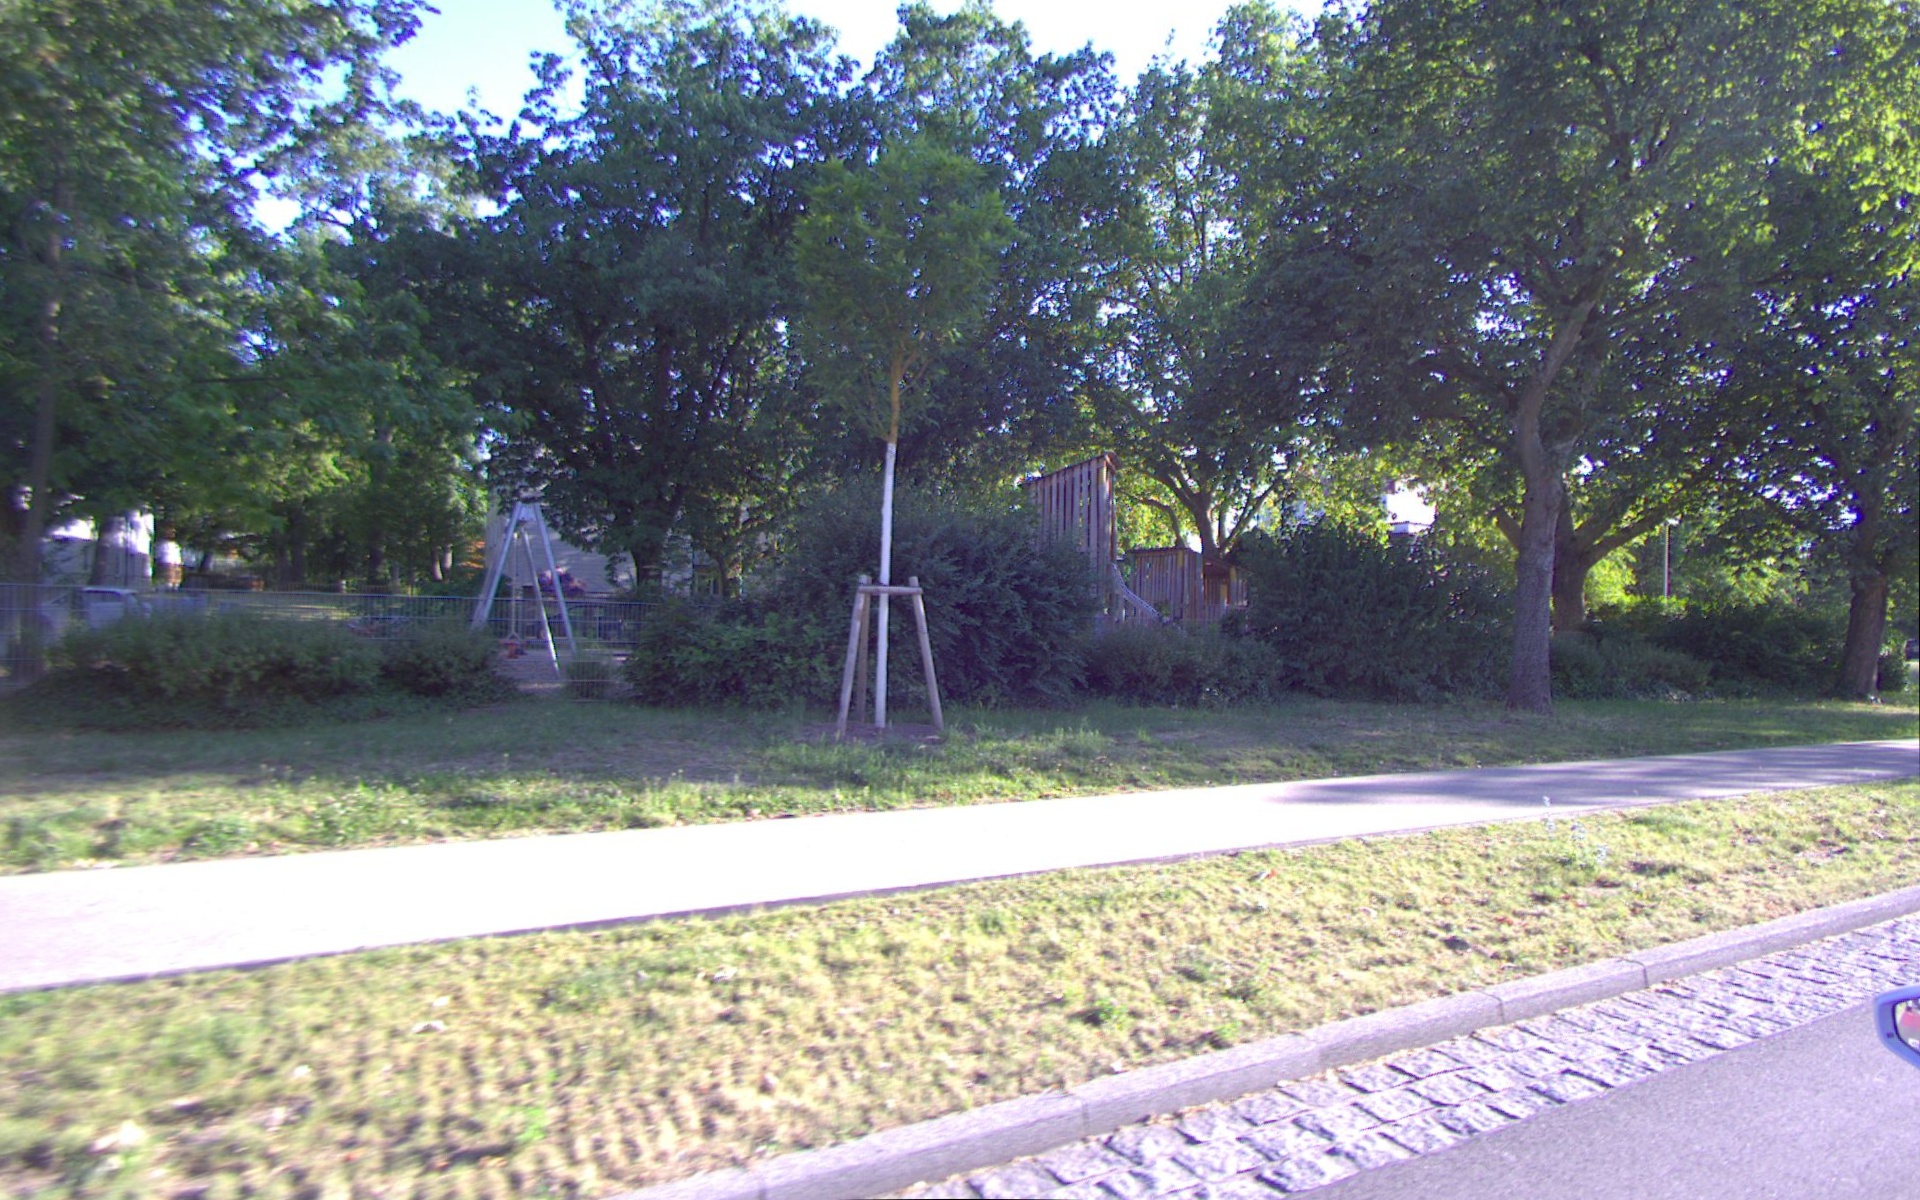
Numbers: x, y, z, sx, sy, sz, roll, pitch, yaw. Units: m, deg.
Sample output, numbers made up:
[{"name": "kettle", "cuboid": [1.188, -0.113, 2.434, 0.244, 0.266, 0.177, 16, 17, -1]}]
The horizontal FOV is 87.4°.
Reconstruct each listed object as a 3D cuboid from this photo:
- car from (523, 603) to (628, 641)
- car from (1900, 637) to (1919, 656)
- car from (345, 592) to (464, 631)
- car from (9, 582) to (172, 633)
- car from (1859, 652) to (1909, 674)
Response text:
[{"name": "car", "cuboid": [-15.101, 0.856, 39.486, 3.703, 1.386, 1.516, 2, 0, -27]}, {"name": "car", "cuboid": [82.407, 4.005, 85.884, 4.169, 1.619, 1.685, 2, 0, -29]}, {"name": "car", "cuboid": [-20.233, 0.417, 36.758, 3.703, 1.309, 1.516, 2, 0, -27]}, {"name": "car", "cuboid": [-27.901, 0.251, 32.358, 3.614, 1.483, 1.595, 2, 0, -26]}, {"name": "car", "cuboid": [74.092, 5.026, 80.543, 4.169, 1.619, 1.685, 2, 0, -29]}]
